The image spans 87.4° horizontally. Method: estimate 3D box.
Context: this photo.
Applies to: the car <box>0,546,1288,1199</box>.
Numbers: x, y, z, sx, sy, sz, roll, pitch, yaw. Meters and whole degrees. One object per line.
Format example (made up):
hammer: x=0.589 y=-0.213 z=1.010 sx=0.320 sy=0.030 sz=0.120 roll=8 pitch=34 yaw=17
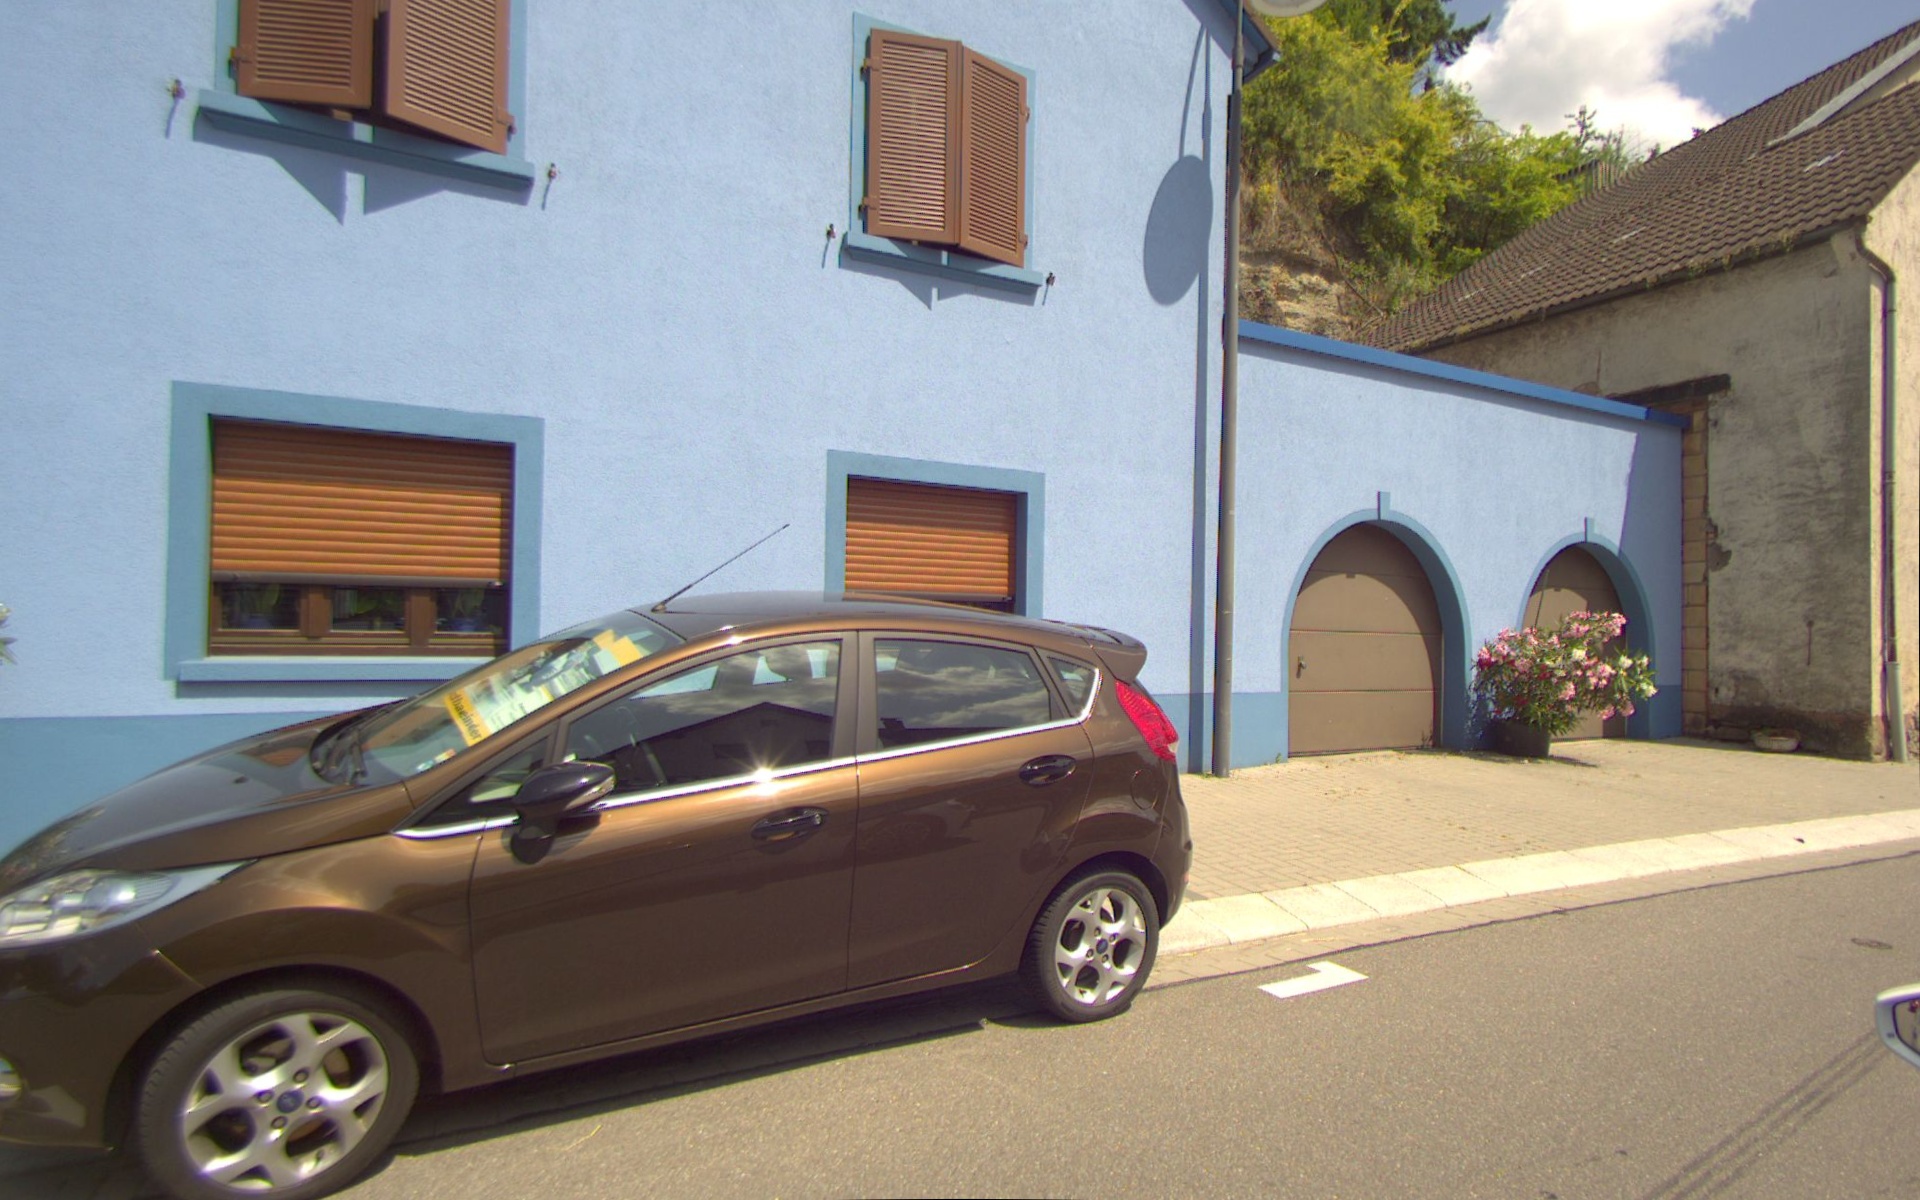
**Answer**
car: x=-0.838 y=0.669 z=3.669 sx=3.809 sy=1.550 sz=1.709 roll=1 pitch=1 yaw=-29
